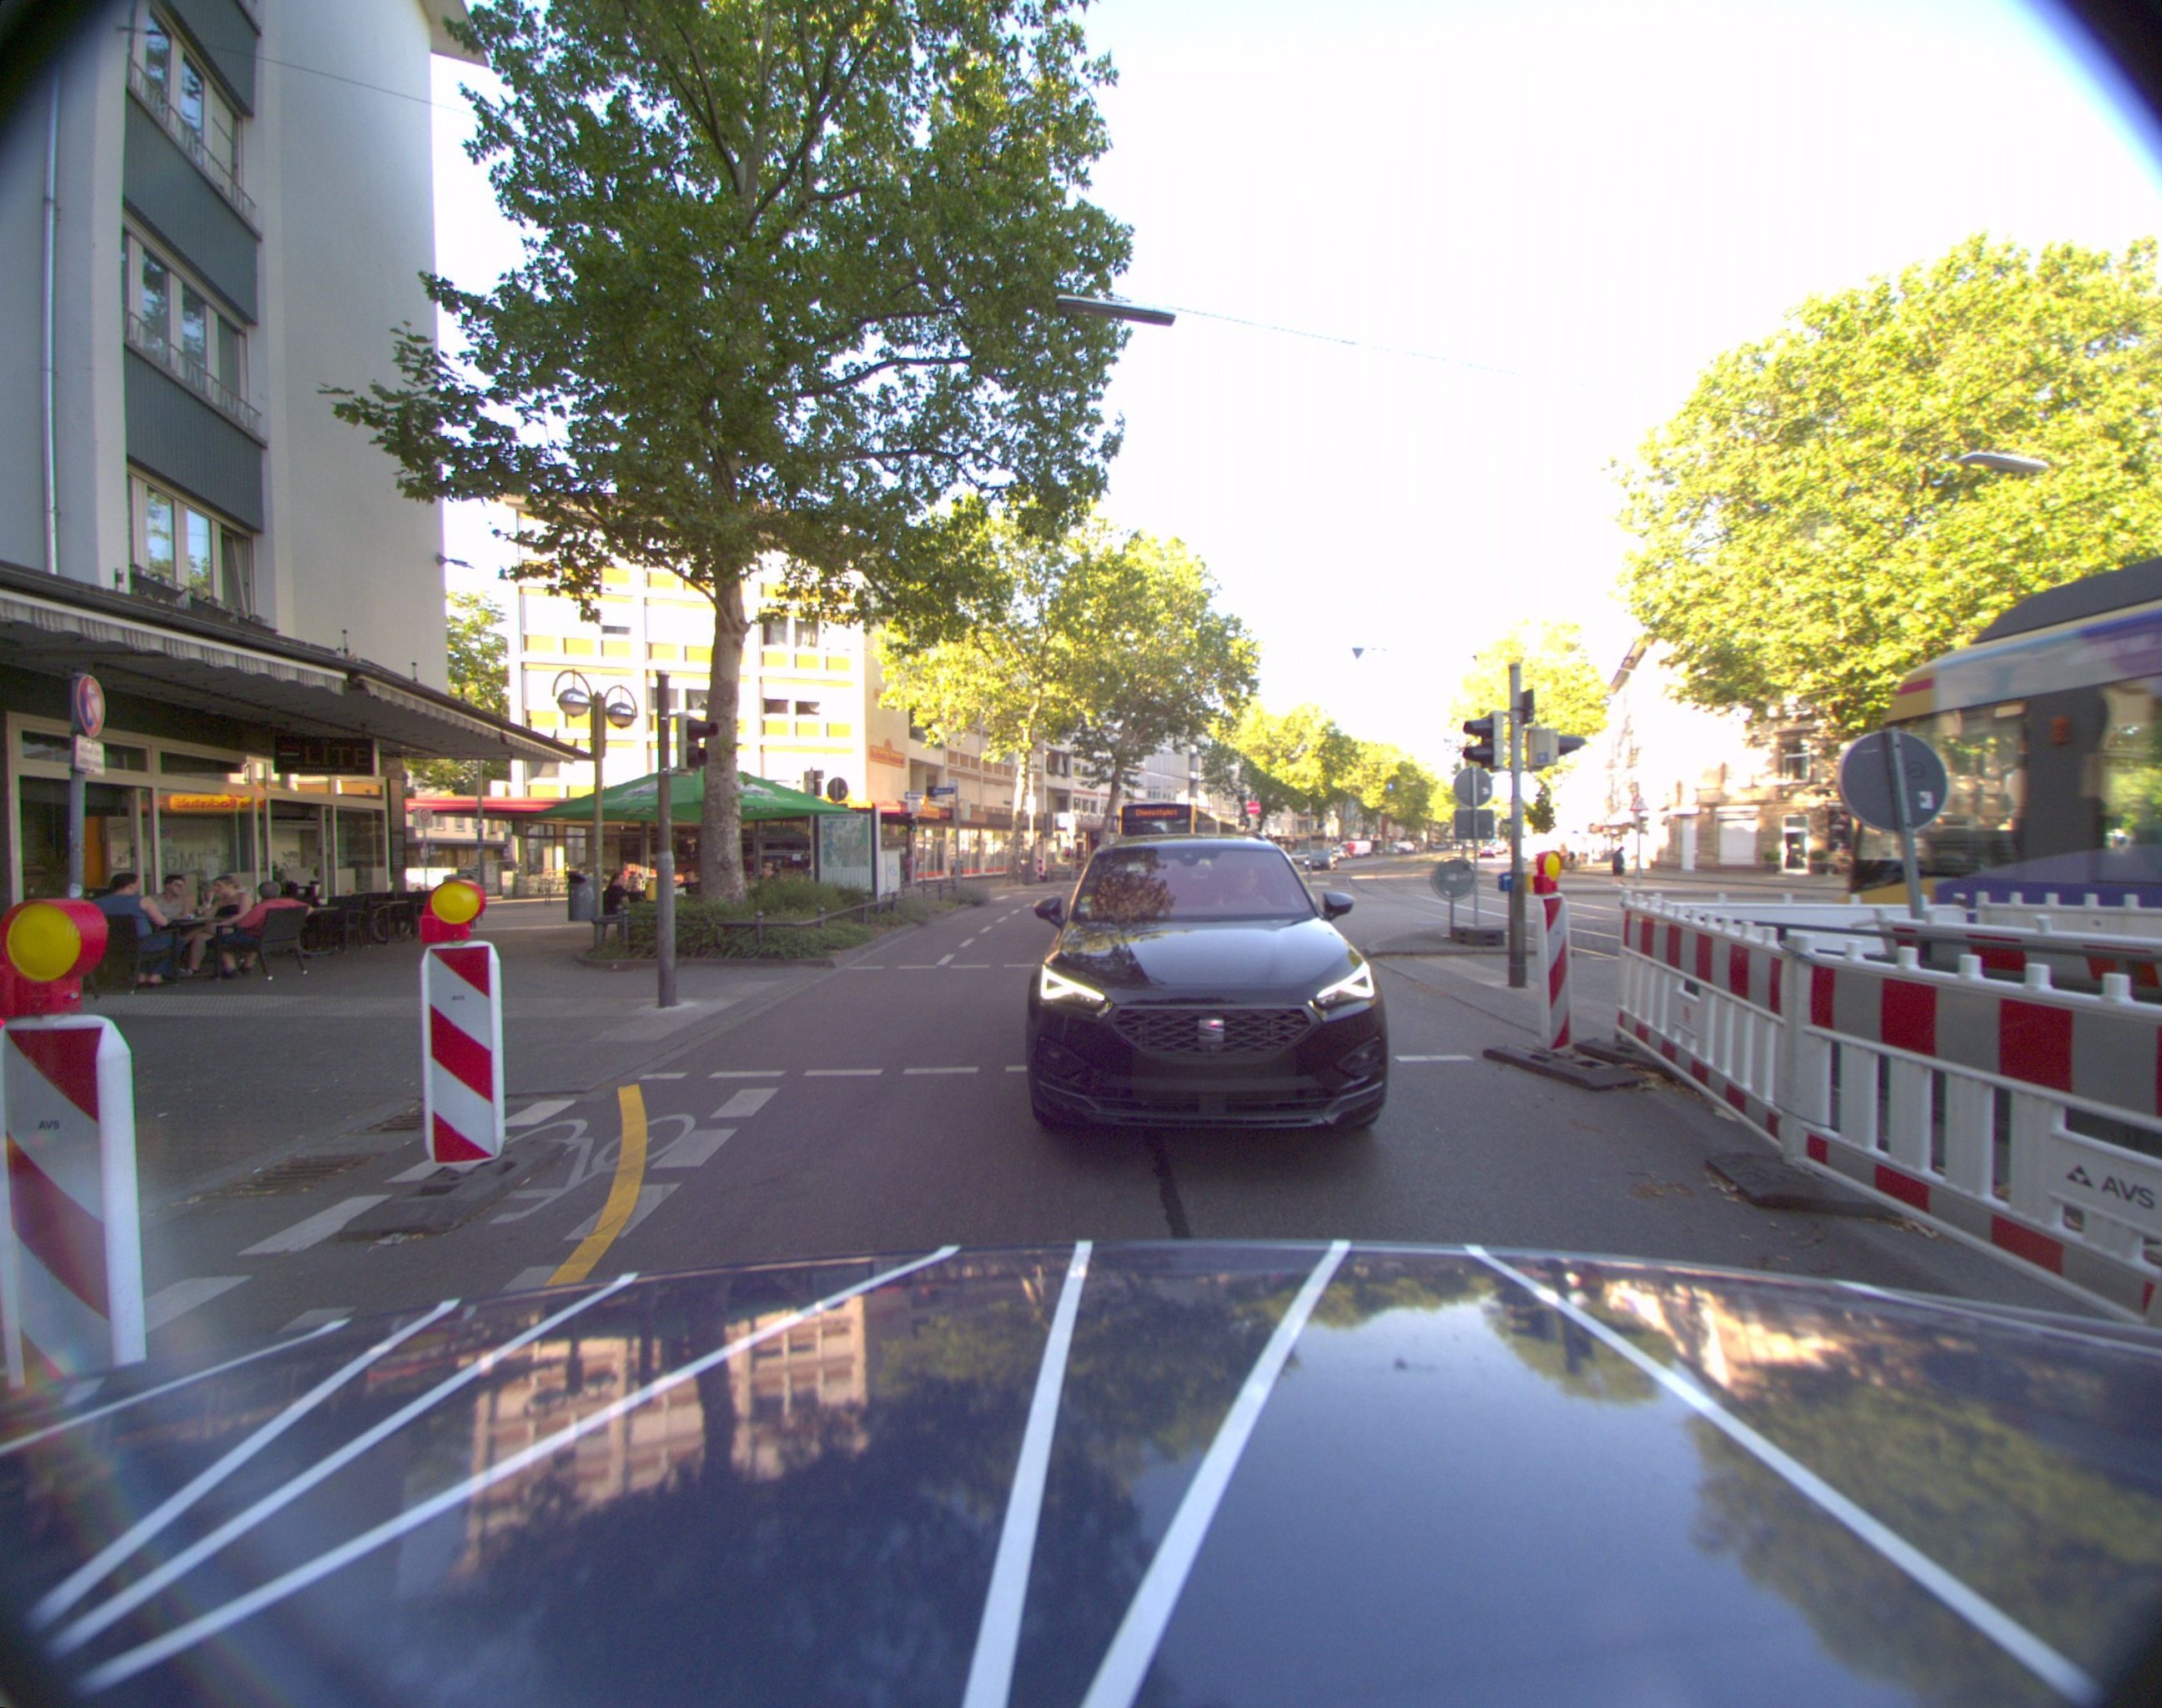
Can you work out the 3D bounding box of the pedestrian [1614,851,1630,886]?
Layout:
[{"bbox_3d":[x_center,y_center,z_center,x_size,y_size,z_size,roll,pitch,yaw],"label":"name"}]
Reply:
[{"bbox_3d":[20.221,0.523,28.394,0.365,1.301,0.402,0,1,18],"label":"pedestrian"}]

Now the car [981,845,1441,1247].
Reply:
[{"bbox_3d":[0.680,0.799,5.306,1.848,1.648,4.300,-2,0,4],"label":"car"}]

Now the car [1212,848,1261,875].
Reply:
[{"bbox_3d":[9.508,0.448,46.153,1.908,1.467,4.425,0,2,26],"label":"car"}]

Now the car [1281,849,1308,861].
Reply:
[{"bbox_3d":[23.917,0.128,85.018,2.629,1.209,1.200,-1,2,-6],"label":"car"}]

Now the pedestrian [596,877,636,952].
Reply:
[{"bbox_3d":[-7.825,1.009,12.785,0.469,1.212,0.431,-2,1,-44],"label":"pedestrian"}]

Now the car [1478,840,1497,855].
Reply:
[{"bbox_3d":[51.381,-0.818,96.010,1.994,1.856,4.007,0,1,31],"label":"car"}]

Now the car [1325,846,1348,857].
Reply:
[{"bbox_3d":[32.901,-0.331,97.833,2.627,1.274,1.201,-1,2,3],"label":"car"}]

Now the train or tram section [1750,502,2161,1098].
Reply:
[{"bbox_3d":[7.811,-0.309,1.931,2.843,3.467,10.335,-1,1,-2],"label":"train or tram section"}]

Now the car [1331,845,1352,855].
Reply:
[{"bbox_3d":[36.703,-0.628,107.028,2.627,1.338,1.201,-1,2,3],"label":"car"}]

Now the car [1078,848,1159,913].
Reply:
[{"bbox_3d":[1.097,0.619,20.145,1.743,1.492,4.301,-2,0,7],"label":"car"}]

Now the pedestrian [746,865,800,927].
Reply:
[{"bbox_3d":[-6.546,0.882,16.180,0.718,1.278,0.769,-1,1,13],"label":"pedestrian"}]

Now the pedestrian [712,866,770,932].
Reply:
[{"bbox_3d":[-6.814,0.885,15.256,0.718,1.278,0.769,-1,1,14],"label":"pedestrian"}]

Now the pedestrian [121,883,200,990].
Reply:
[{"bbox_3d":[-11.248,0.984,9.287,0.519,1.236,0.553,0,0,34],"label":"pedestrian"}]

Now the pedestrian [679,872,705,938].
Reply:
[{"bbox_3d":[-7.416,0.957,14.479,0.433,1.212,0.467,0,1,-29],"label":"pedestrian"}]

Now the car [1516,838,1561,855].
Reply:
[{"bbox_3d":[52.204,-0.860,86.693,3.999,1.904,1.998,-1,1,-7],"label":"car"}]

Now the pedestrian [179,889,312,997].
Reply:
[{"bbox_3d":[-9.852,1.017,8.994,0.847,1.191,0.649,0,0,-22],"label":"pedestrian"}]

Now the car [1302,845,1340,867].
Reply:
[{"bbox_3d":[17.805,0.104,56.249,1.952,1.467,4.764,0,2,26],"label":"car"}]

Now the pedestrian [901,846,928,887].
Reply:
[{"bbox_3d":[-7.173,0.521,32.752,0.748,1.747,0.903,0,1,17],"label":"pedestrian"}]

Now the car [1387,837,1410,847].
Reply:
[{"bbox_3d":[64.313,-2.510,153.864,4.000,2.002,1.879,-1,1,-8],"label":"car"}]

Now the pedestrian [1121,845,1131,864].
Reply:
[{"bbox_3d":[3.877,0.023,65.281,0.658,1.632,0.660,0,1,26],"label":"pedestrian"}]

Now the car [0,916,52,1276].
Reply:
[{"bbox_3d":[-5.154,0.989,1.420,1.623,1.457,3.604,2,0,-2],"label":"car"}]

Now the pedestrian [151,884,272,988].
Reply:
[{"bbox_3d":[-10.697,0.984,9.374,0.666,1.211,0.717,0,0,-5],"label":"pedestrian"}]

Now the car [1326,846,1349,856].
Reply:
[{"bbox_3d":[34.050,-0.418,100.934,2.627,1.274,1.201,-1,2,3],"label":"car"}]

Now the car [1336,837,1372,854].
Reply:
[{"bbox_3d":[40.630,-1.286,113.113,4.868,2.362,1.878,-1,2,-10],"label":"car"}]

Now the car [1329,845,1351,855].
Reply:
[{"bbox_3d":[35.565,-0.568,104.214,2.627,1.380,1.201,-1,2,3],"label":"car"}]

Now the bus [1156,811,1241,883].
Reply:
[{"bbox_3d":[6.058,-0.345,37.724,2.749,3.085,9.508,0,1,17],"label":"bus"}]

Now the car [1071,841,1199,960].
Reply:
[{"bbox_3d":[0.965,0.638,12.781,1.743,1.630,4.300,-2,0,6],"label":"car"}]

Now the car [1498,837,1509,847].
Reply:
[{"bbox_3d":[88.732,-2.522,159.514,1.903,1.893,4.007,0,1,29],"label":"car"}]

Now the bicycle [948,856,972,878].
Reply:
[{"bbox_3d":[-6.674,0.692,42.028,0.528,1.136,1.976,-1,1,15],"label":"bicycle"}]

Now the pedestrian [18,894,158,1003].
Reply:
[{"bbox_3d":[-11.091,1.024,8.518,0.718,1.123,0.649,1,0,-24],"label":"pedestrian"}]

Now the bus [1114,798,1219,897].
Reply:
[{"bbox_3d":[3.522,-0.233,28.610,2.750,3.085,9.506,0,1,14],"label":"bus"}]

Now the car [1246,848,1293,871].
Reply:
[{"bbox_3d":[13.725,0.369,55.109,1.952,1.541,4.765,0,2,31],"label":"car"}]

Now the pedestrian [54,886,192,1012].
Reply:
[{"bbox_3d":[-10.224,0.982,8.144,0.651,1.244,0.716,0,0,-24],"label":"pedestrian"}]
